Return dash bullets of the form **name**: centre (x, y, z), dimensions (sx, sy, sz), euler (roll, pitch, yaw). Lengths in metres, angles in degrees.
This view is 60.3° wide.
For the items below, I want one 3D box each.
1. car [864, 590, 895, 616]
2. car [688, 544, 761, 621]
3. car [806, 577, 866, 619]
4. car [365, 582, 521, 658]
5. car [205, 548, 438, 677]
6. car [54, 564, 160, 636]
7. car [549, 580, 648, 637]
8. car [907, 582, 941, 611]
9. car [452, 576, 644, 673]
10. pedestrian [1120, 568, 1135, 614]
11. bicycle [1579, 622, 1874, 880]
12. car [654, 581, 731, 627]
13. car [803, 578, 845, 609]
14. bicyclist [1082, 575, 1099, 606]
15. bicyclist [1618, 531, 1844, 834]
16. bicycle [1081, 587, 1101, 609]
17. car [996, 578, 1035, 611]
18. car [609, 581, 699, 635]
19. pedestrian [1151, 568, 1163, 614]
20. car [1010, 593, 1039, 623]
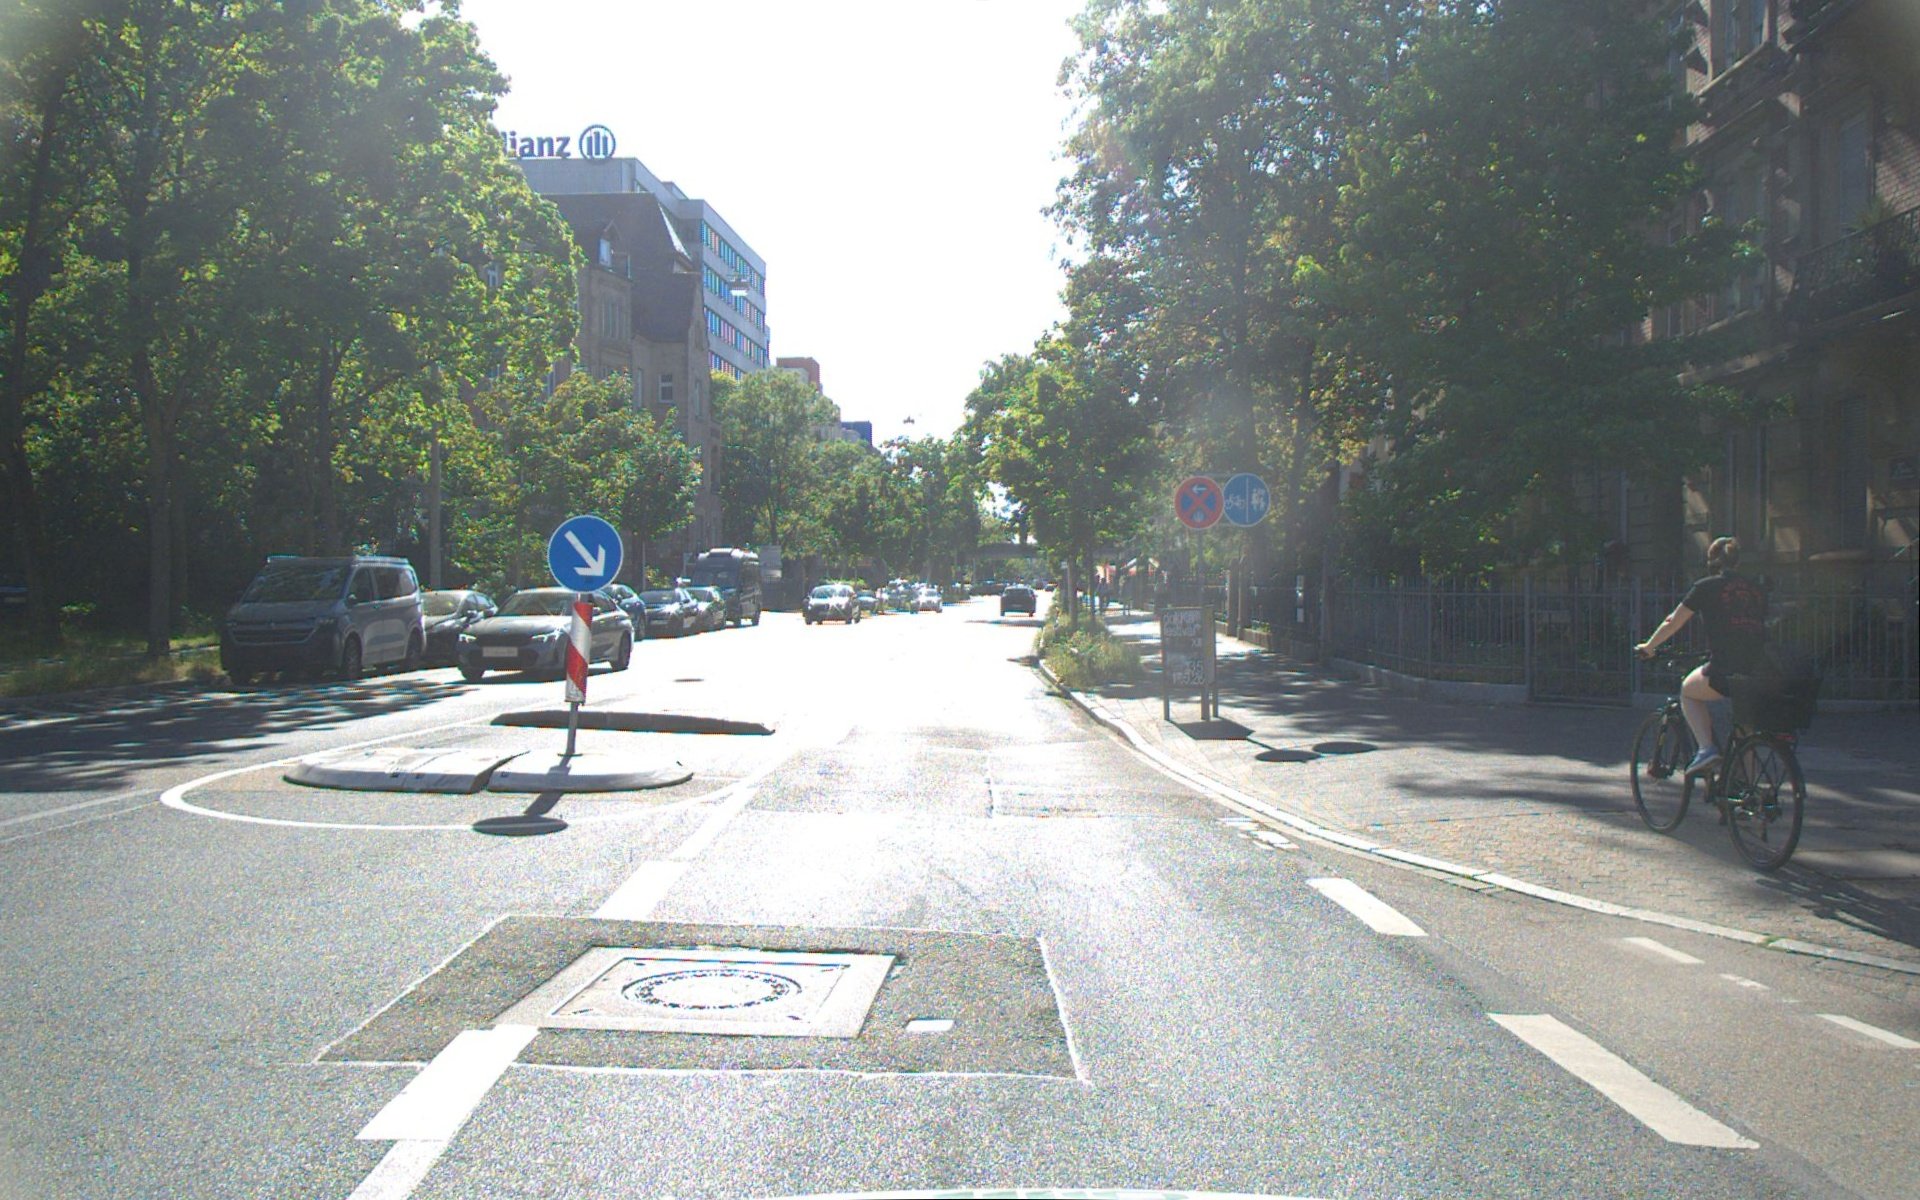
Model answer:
- **car**: centre (-5.421, 0.228, 111.452), dimensions (1.895, 1.546, 4.029), euler (1, -2, -1)
- **car**: centre (-8.620, -0.666, 60.892), dimensions (1.788, 2.697, 5.163), euler (0, 1, 2)
- **car**: centre (-4.708, -0.100, 63.206), dimensions (1.604, 1.545, 4.033), euler (0, 1, 6)
- **car**: centre (-10.261, 0.445, 33.134), dimensions (1.677, 1.376, 4.001), euler (1, -2, 3)
- **car**: centre (-10.728, 0.218, 28.248), dimensions (2.154, 1.963, 4.860), euler (-2, -1, -2)
- **car**: centre (-21.099, -0.022, 41.056), dimensions (1.947, 1.691, 3.974), euler (0, 1, -22)
- **car**: centre (-9.650, 0.206, 44.350), dimensions (1.491, 1.457, 3.556), euler (0, 1, 7)
- **car**: centre (-2.128, -0.208, 98.837), dimensions (1.895, 1.546, 4.029), euler (1, -2, -1)
- **car**: centre (-6.814, 0.390, 27.855), dimensions (1.746, 1.485, 4.418), euler (1, 0, 6)
- **pedestrian**: centre (7.497, -0.425, 73.942), dimensions (0.602, 2.049, 0.681), euler (0, 0, -1)
- **bicycle**: centre (4.267, 0.782, 9.397), dimensions (0.726, 1.240, 1.960), euler (-2, 0, 0)
- **car**: centre (-8.820, 0.117, 54.836), dimensions (1.789, 1.445, 4.001), euler (0, 1, 2)
- **car**: centre (-6.766, -0.339, 82.679), dimensions (1.765, 1.530, 3.808), euler (0, 1, 0)
- **bicyclist**: centre (5.913, -0.434, 75.012), dimensions (0.666, 1.351, 0.636), euler (1, -2, -1)
- **bicyclist**: centre (4.330, 0.424, 9.376), dimensions (0.726, 1.607, 1.100), euler (1, 1, 0)
- **bicycle**: centre (5.922, -0.064, 74.947), dimensions (0.661, 0.954, 2.281), euler (0, -1, -1)
- **car**: centre (2.905, -0.297, 87.280), dimensions (1.856, 1.545, 4.000), euler (2, 2, -1)
- **car**: centre (-9.129, 0.280, 49.603), dimensions (1.789, 1.445, 4.000), euler (1, -2, 2)
- **pedestrian**: centre (8.896, -0.400, 74.724), dimensions (0.466, 2.049, 0.492), euler (1, -2, -1)
- **car**: centre (4.043, 0.463, 103.266), dimensions (1.781, 1.770, 4.002), euler (0, 1, 3)
